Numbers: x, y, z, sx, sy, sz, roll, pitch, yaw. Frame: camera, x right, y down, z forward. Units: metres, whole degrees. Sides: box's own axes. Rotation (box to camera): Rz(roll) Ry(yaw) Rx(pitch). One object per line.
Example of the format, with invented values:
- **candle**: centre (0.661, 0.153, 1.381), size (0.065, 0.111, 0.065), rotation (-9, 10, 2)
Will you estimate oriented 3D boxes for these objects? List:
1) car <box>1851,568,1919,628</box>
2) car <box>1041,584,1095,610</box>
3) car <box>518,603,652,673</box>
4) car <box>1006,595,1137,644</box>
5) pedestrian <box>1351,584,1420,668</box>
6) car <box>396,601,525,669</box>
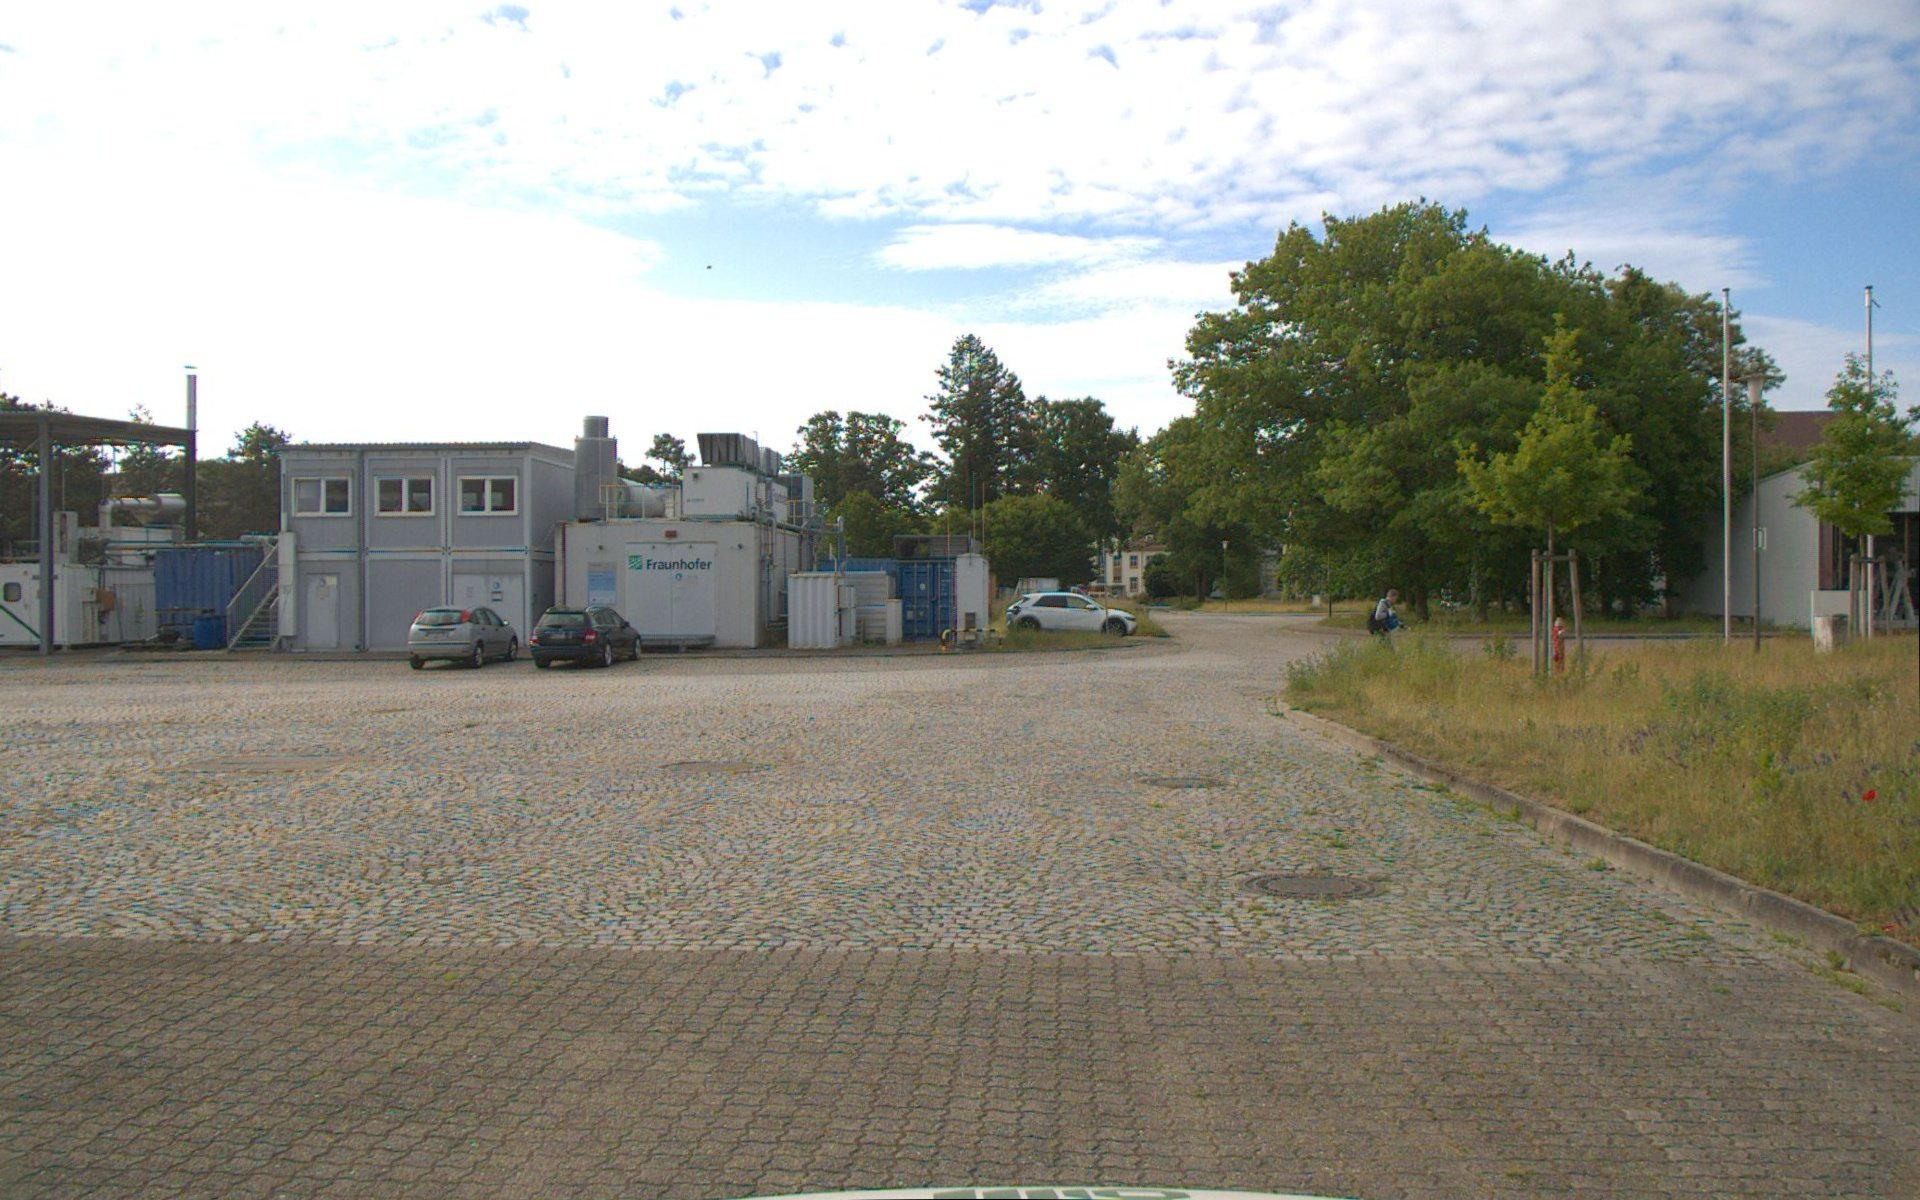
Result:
- **car**: centre (33.841, -0.086, 58.241), size (2.194, 2.049, 5.338), rotation (-1, 0, 2)
- **car**: centre (10.364, -0.290, 158.740), size (5.062, 2.378, 2.001), rotation (-1, 0, 3)
- **car**: centre (-9.181, 0.886, 40.891), size (1.993, 1.478, 4.532), rotation (-1, 2, 4)
- **car**: centre (3.895, 0.662, 57.302), size (4.438, 1.627, 2.001), rotation (-1, 0, 6)
- **pedestrian**: centre (8.201, 0.502, 31.864), size (1.054, 1.584, 1.074), rotation (-1, 0, 27)
- **car**: centre (-12.378, 0.824, 41.233), size (1.867, 1.501, 4.048), rotation (-1, 1, 2)
